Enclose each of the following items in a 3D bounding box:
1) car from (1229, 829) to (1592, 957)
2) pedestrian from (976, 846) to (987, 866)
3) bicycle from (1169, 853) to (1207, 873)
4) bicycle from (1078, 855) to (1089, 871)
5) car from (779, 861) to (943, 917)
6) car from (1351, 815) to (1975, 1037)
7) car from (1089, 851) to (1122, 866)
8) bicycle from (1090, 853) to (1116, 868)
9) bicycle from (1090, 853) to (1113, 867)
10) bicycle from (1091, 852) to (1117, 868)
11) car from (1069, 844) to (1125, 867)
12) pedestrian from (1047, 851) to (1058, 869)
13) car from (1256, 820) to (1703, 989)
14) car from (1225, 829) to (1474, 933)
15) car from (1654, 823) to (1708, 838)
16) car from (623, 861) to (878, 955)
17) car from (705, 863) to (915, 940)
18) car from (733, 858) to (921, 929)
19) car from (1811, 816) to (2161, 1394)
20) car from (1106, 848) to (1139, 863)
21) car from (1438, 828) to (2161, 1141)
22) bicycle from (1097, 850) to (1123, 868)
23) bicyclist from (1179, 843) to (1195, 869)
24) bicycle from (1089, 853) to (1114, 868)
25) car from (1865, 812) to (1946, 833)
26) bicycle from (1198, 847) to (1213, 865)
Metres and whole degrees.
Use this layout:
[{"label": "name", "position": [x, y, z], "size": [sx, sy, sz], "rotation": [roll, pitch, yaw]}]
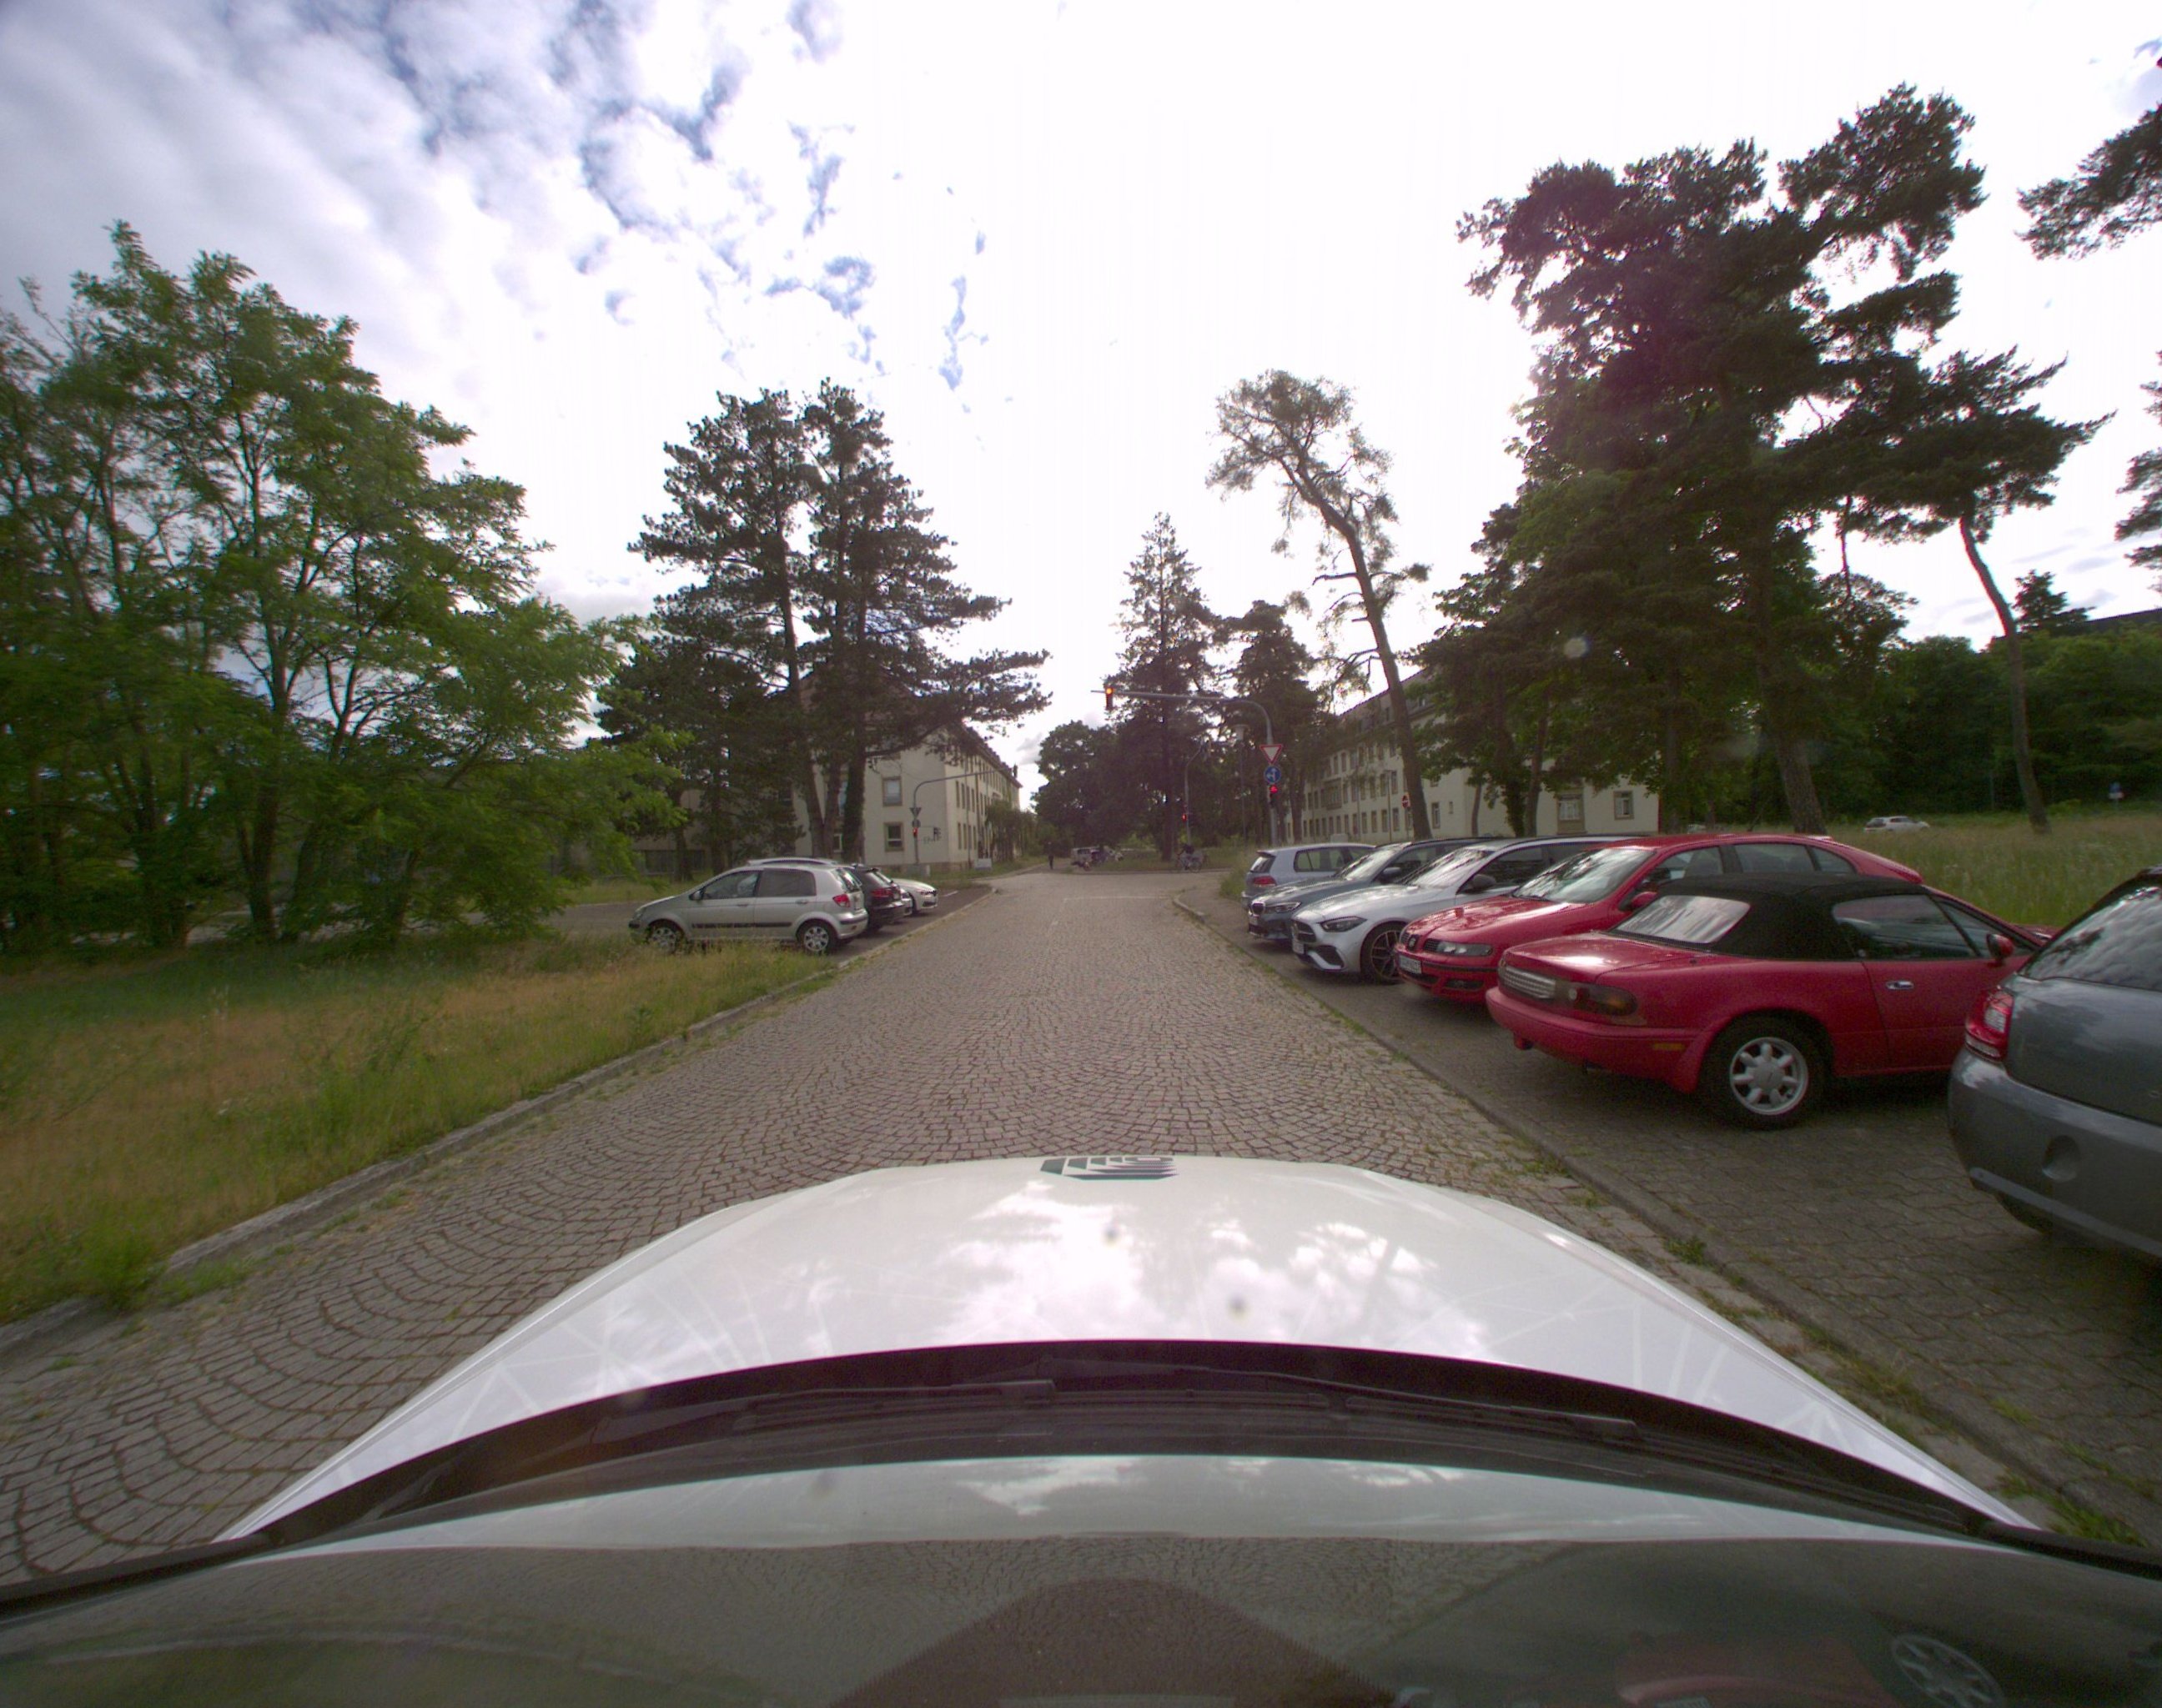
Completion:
[{"label": "car", "position": [4.798, 0.533, 12.313], "size": [4.669, 1.416, 1.869], "rotation": [-5, 0, -2]}, {"label": "pedestrian", "position": [-9.714, 0.197, 79.305], "size": [0.779, 1.837, 0.733], "rotation": [-3, 0, -31]}, {"label": "bicycle", "position": [5.871, 0.487, 44.809], "size": [1.949, 1.024, 0.605], "rotation": [-3, 0, 0]}, {"label": "bicycle", "position": [0.186, 0.680, 60.398], "size": [0.602, 1.132, 1.958], "rotation": [-3, 0, -5]}, {"label": "car", "position": [-5.812, 0.918, 21.848], "size": [3.935, 1.421, 1.650], "rotation": [0, 0, -1]}, {"label": "car", "position": [4.908, 0.556, 7.358], "size": [4.248, 1.416, 1.871], "rotation": [-5, 0, 0]}, {"label": "car", "position": [2.350, 0.426, 78.310], "size": [3.001, 1.268, 1.532], "rotation": [-3, 0, -6]}, {"label": "bicycle", "position": [1.754, 0.517, 64.232], "size": [1.953, 1.117, 0.586], "rotation": [-3, 0, -7]}, {"label": "bicycle", "position": [1.778, 0.507, 70.751], "size": [1.964, 1.069, 0.583], "rotation": [-3, 0, -25]}, {"label": "bicycle", "position": [1.811, 0.493, 63.599], "size": [1.953, 1.132, 0.586], "rotation": [-3, 0, -7]}, {"label": "car", "position": [1.585, 0.175, 81.683], "size": [5.359, 1.924, 2.019], "rotation": [-4, 0, -9]}, {"label": "pedestrian", "position": [-2.595, 0.548, 74.214], "size": [0.743, 1.618, 0.769], "rotation": [-3, 0, -28]}, {"label": "car", "position": [4.555, 0.512, 9.625], "size": [4.421, 1.416, 1.865], "rotation": [-5, 0, -9]}, {"label": "car", "position": [4.740, 0.463, 14.764], "size": [3.912, 1.477, 1.643], "rotation": [-5, 0, 1]}, {"label": "car", "position": [57.234, -2.243, 77.700], "size": [3.931, 1.421, 1.651], "rotation": [0, 0, 3]}, {"label": "car", "position": [-5.510, 0.877, 13.930], "size": [3.694, 1.479, 1.581], "rotation": [0, 0, -3]}, {"label": "car", "position": [-5.389, 0.921, 16.527], "size": [3.737, 1.428, 1.581], "rotation": [0, 0, -3]}, {"label": "car", "position": [-5.925, 0.896, 19.311], "size": [3.938, 1.563, 1.648], "rotation": [0, 0, -3]}, {"label": "car", "position": [4.737, 0.549, 2.246], "size": [3.851, 1.472, 1.757], "rotation": [-5, 0, -1]}, {"label": "car", "position": [4.347, 0.146, 85.571], "size": [3.224, 1.416, 1.724], "rotation": [-3, 0, -3]}, {"label": "car", "position": [4.472, 0.617, 4.873], "size": [3.851, 1.236, 1.757], "rotation": [-5, 0, -1]}, {"label": "bicycle", "position": [2.297, 0.408, 65.064], "size": [1.953, 1.384, 0.586], "rotation": [-3, 0, -7]}, {"label": "bicyclist", "position": [5.850, 0.101, 44.807], "size": [0.747, 1.410, 0.605], "rotation": [-3, 0, 0]}, {"label": "bicycle", "position": [1.663, 0.540, 65.715], "size": [1.967, 1.069, 0.582], "rotation": [-3, 0, -30]}, {"label": "car", "position": [57.985, -2.220, 57.319], "size": [3.931, 1.421, 1.651], "rotation": [0, 0, 3]}, {"label": "bicycle", "position": [7.869, 0.118, 51.505], "size": [0.584, 1.106, 1.961], "rotation": [-3, 0, 0]}]
